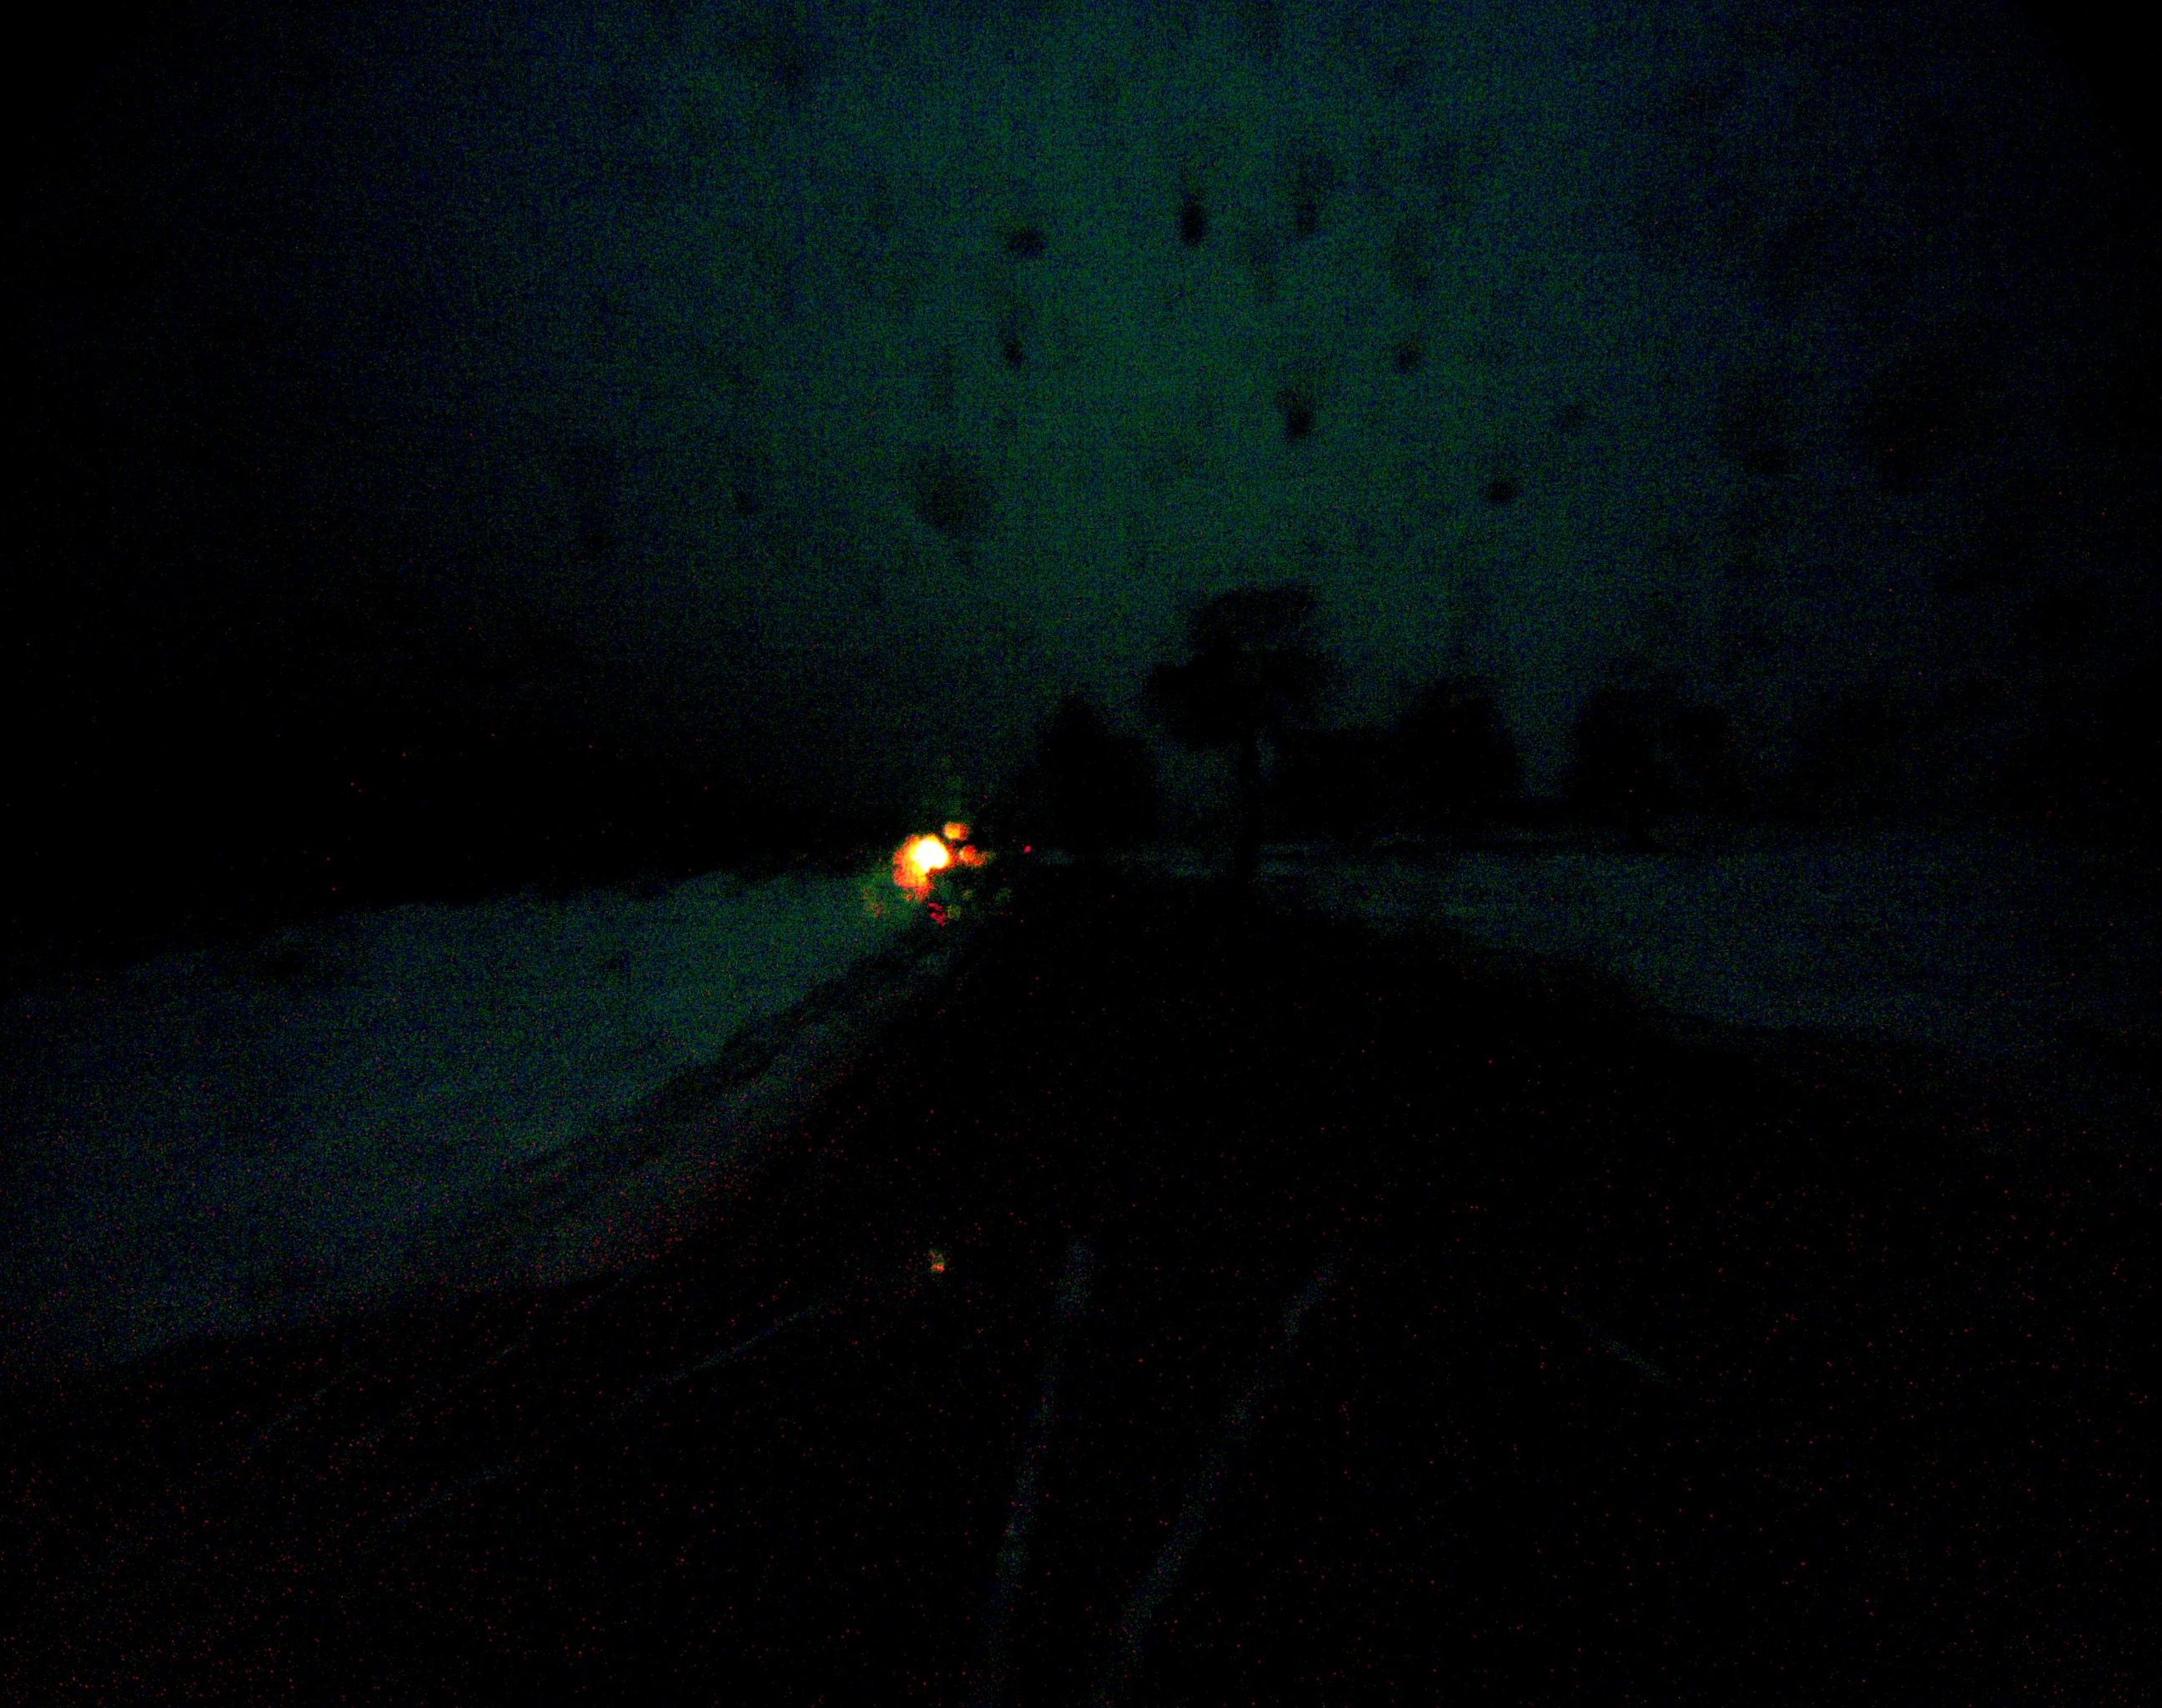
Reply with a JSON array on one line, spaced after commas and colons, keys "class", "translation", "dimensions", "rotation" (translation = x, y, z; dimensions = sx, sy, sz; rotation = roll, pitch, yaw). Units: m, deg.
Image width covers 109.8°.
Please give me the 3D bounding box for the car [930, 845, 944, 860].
[{"class": "car", "translation": [-22.089, -0.255, 116.644], "dimensions": [2.000, 2.003, 3.995], "rotation": [-4, 2, -11]}]
